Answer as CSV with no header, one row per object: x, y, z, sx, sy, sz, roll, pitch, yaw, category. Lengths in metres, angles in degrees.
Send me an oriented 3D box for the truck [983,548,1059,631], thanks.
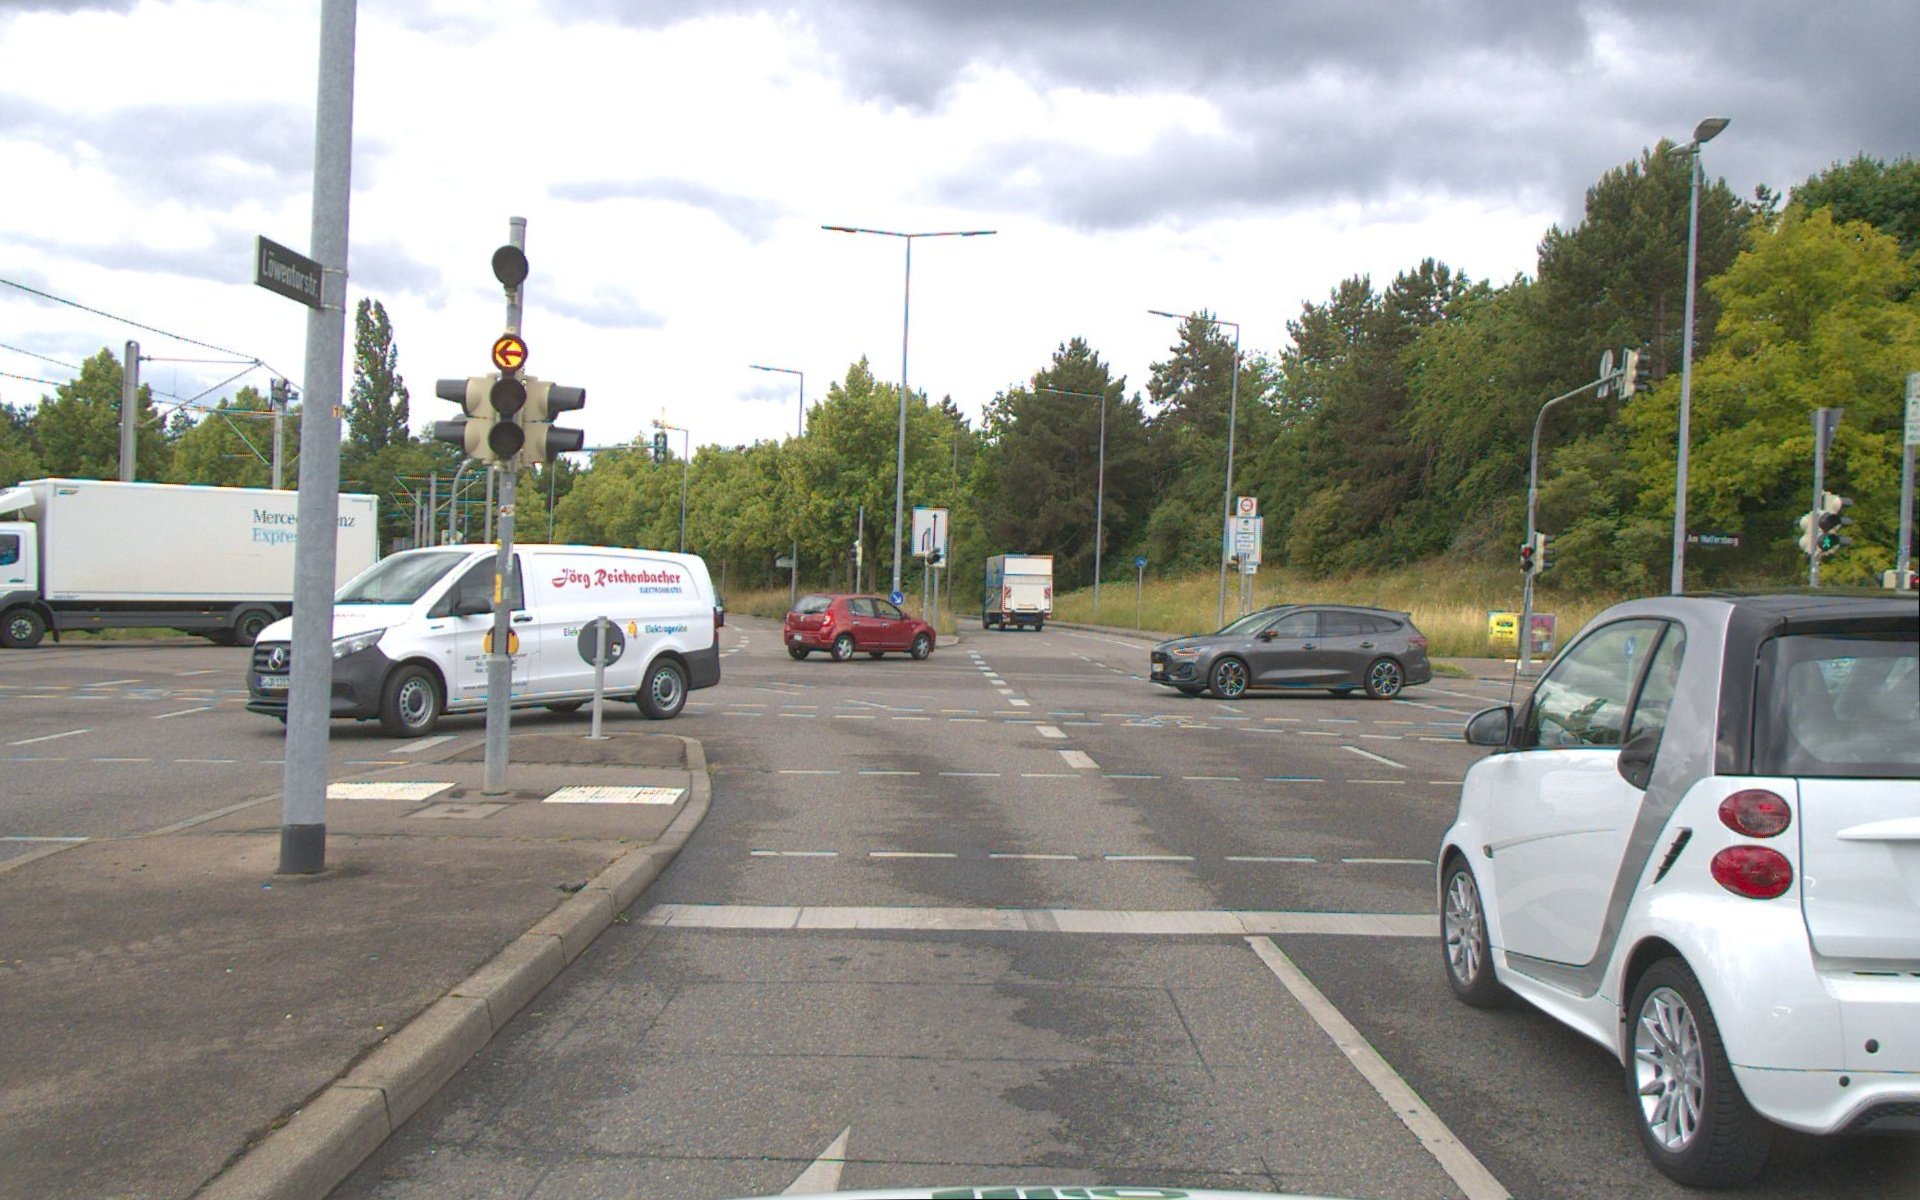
2.741,-0.510,76.686,2.631,3.661,7.256,0,1,-5,truck

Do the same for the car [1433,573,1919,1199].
2.658,0.704,5.278,1.504,1.530,2.670,1,0,-1,car

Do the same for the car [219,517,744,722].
-4.866,0.252,17.755,1.959,1.847,5.418,-1,-2,34,car

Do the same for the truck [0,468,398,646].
-18.043,-0.851,38.008,9.423,3.713,2.627,2,0,-43,truck

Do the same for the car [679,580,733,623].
-9.941,0.045,64.522,1.882,1.603,3.989,1,1,-11,car

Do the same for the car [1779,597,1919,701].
15.887,0.799,27.216,3.904,1.629,1.838,1,0,2,car

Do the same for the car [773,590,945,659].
-2.325,0.576,38.773,1.702,1.543,3.973,-2,-2,43,car

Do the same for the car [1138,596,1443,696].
5.268,0.723,26.649,4.408,1.487,1.996,1,0,-9,car
